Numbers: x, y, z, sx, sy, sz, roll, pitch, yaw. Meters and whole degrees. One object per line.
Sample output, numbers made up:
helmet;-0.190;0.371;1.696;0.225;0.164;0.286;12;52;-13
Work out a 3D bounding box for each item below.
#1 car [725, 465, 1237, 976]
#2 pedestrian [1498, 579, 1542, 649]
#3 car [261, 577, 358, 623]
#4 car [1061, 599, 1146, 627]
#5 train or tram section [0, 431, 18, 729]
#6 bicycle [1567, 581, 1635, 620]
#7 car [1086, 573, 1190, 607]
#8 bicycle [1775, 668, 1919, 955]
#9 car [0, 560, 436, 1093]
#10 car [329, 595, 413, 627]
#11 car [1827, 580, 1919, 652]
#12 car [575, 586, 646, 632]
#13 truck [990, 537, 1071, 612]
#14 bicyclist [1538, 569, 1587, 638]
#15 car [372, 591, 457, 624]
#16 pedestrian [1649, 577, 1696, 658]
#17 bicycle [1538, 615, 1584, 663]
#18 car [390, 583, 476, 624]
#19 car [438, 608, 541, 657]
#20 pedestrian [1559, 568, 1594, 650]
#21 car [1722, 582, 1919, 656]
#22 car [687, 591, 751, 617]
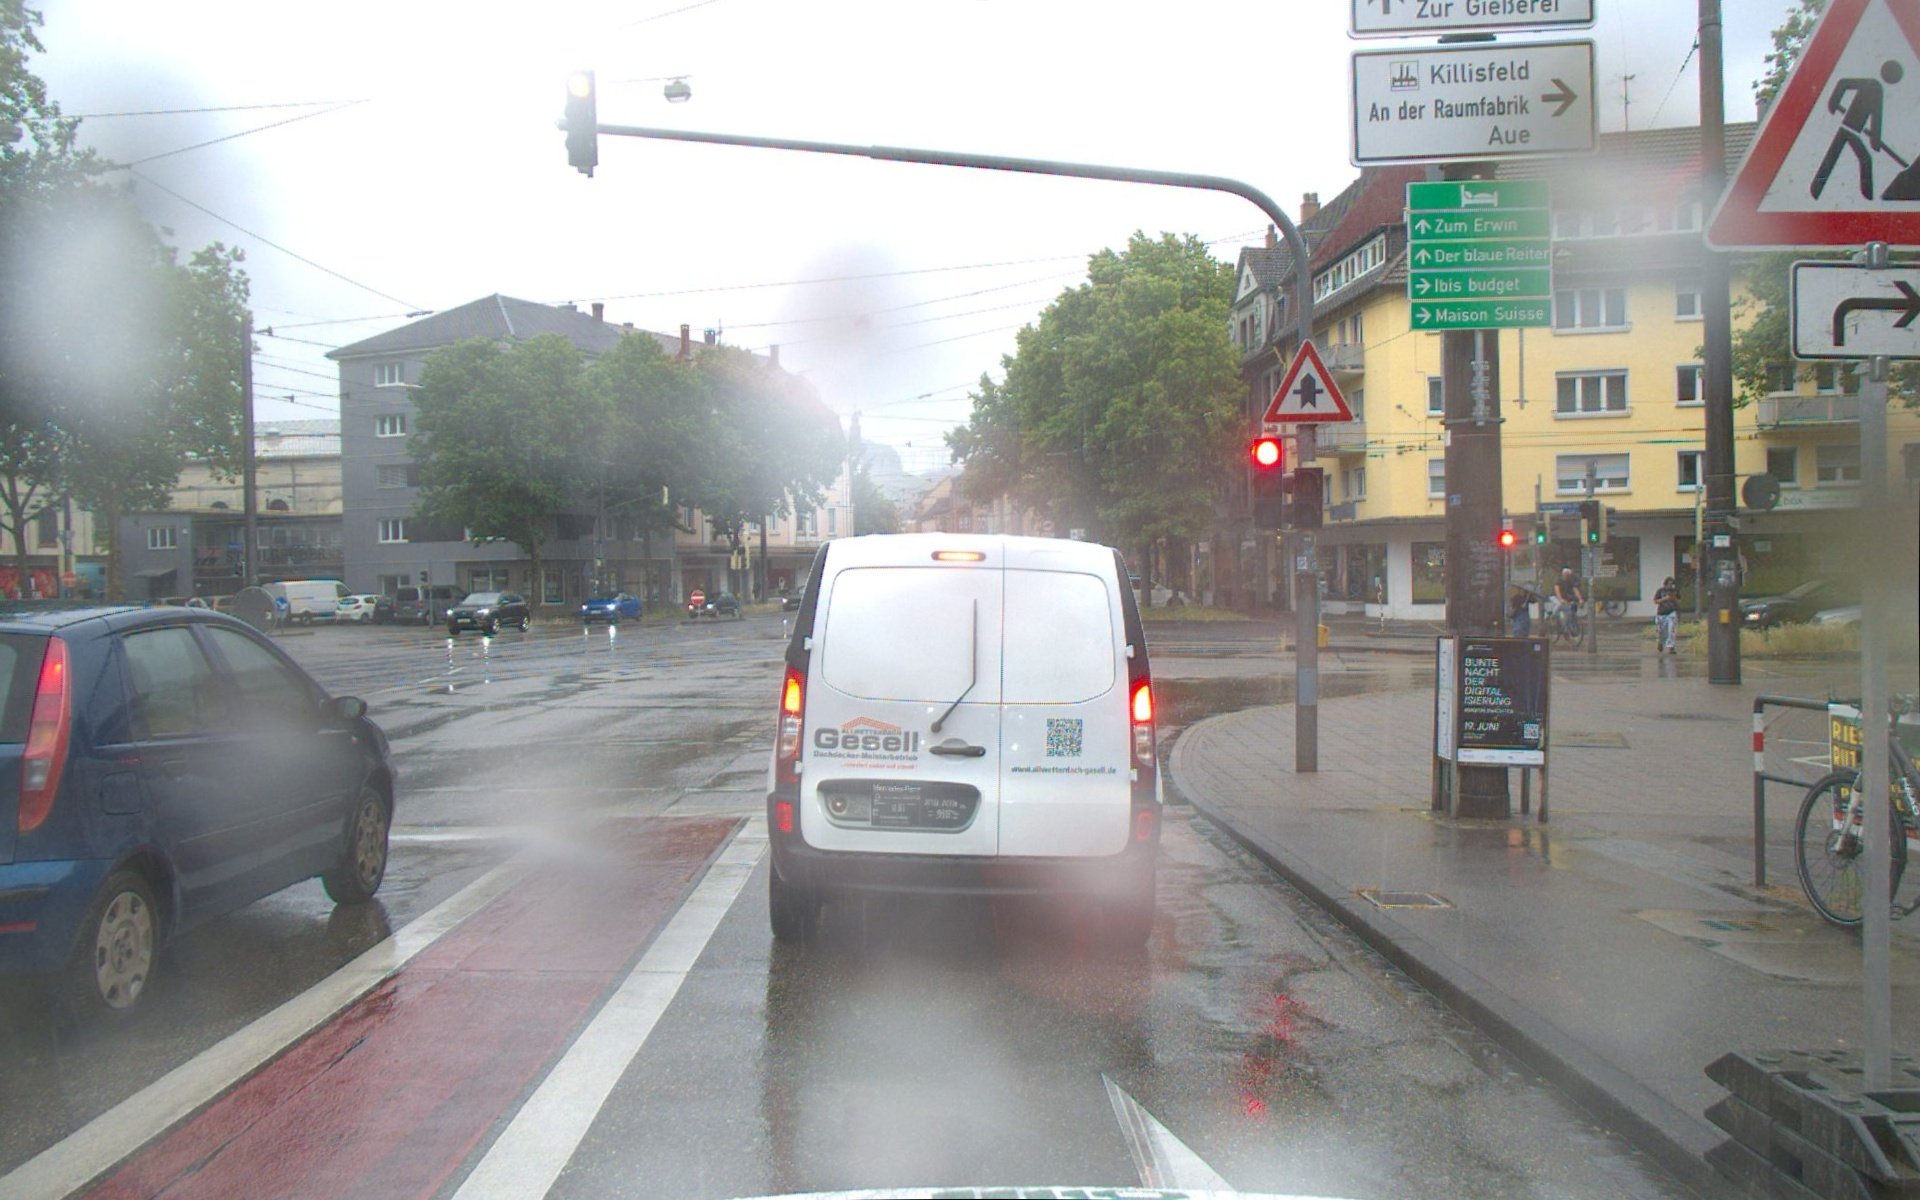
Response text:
car;0.051;0.489;9.140;2.058;2.047;4.962;0;0;-1
pedestrian;12.628;0.316;37.273;0.809;1.561;0.614;1;0;-39
car;-34.149;-0.036;86.959;1.953;2.236;4.787;1;2;22
car;6.137;0.544;70.834;3.378;1.150;1.469;0;0;-9
train or tram section;-13.067;-0.257;11.792;3.467;3.472;15.507;1;0;1
bicycle;21.542;0.004;55.593;2.056;1.283;0.532;0;1;14
car;7.398;-0.421;69.047;4.088;1.362;1.518;0;1;-8
bicycle;4.248;0.913;7.082;0.503;1.126;2.017;3;0;1
car;-3.614;0.676;6.878;1.692;1.606;3.820;0;0;-1
car;-30.991;0.550;87.160;1.915;1.522;3.997;0;2;26
car;21.161;0.327;35.865;3.854;1.516;1.808;0;1;15
car;-16.006;0.403;75.868;1.951;2.049;4.003;0;0;7
truck;5.367;-1.752;121.875;3.395;5.176;15.320;0;0;12
bicyclist;14.226;0.076;39.072;0.860;1.611;0.860;0;0;2
car;-28.470;0.371;86.432;1.954;1.556;3.997;0;2;26
pedestrian;15.183;0.368;35.239;0.886;1.698;1.019;0;0;25
bicycle;14.222;0.903;39.179;0.449;1.045;1.902;0;1;1
car;-26.812;0.188;84.290;1.954;2.049;3.996;0;0;26
car;-17.740;1.199;62.553;1.909;1.635;4.003;0;2;16
pedestrian;15.632;0.217;41.909;0.779;2.049;0.860;0;0;24
car;20.852;0.462;39.076;4.832;1.672;2.001;0;-2;11
car;-12.844;0.199;88.491;1.909;1.260;4.003;0;2;16
